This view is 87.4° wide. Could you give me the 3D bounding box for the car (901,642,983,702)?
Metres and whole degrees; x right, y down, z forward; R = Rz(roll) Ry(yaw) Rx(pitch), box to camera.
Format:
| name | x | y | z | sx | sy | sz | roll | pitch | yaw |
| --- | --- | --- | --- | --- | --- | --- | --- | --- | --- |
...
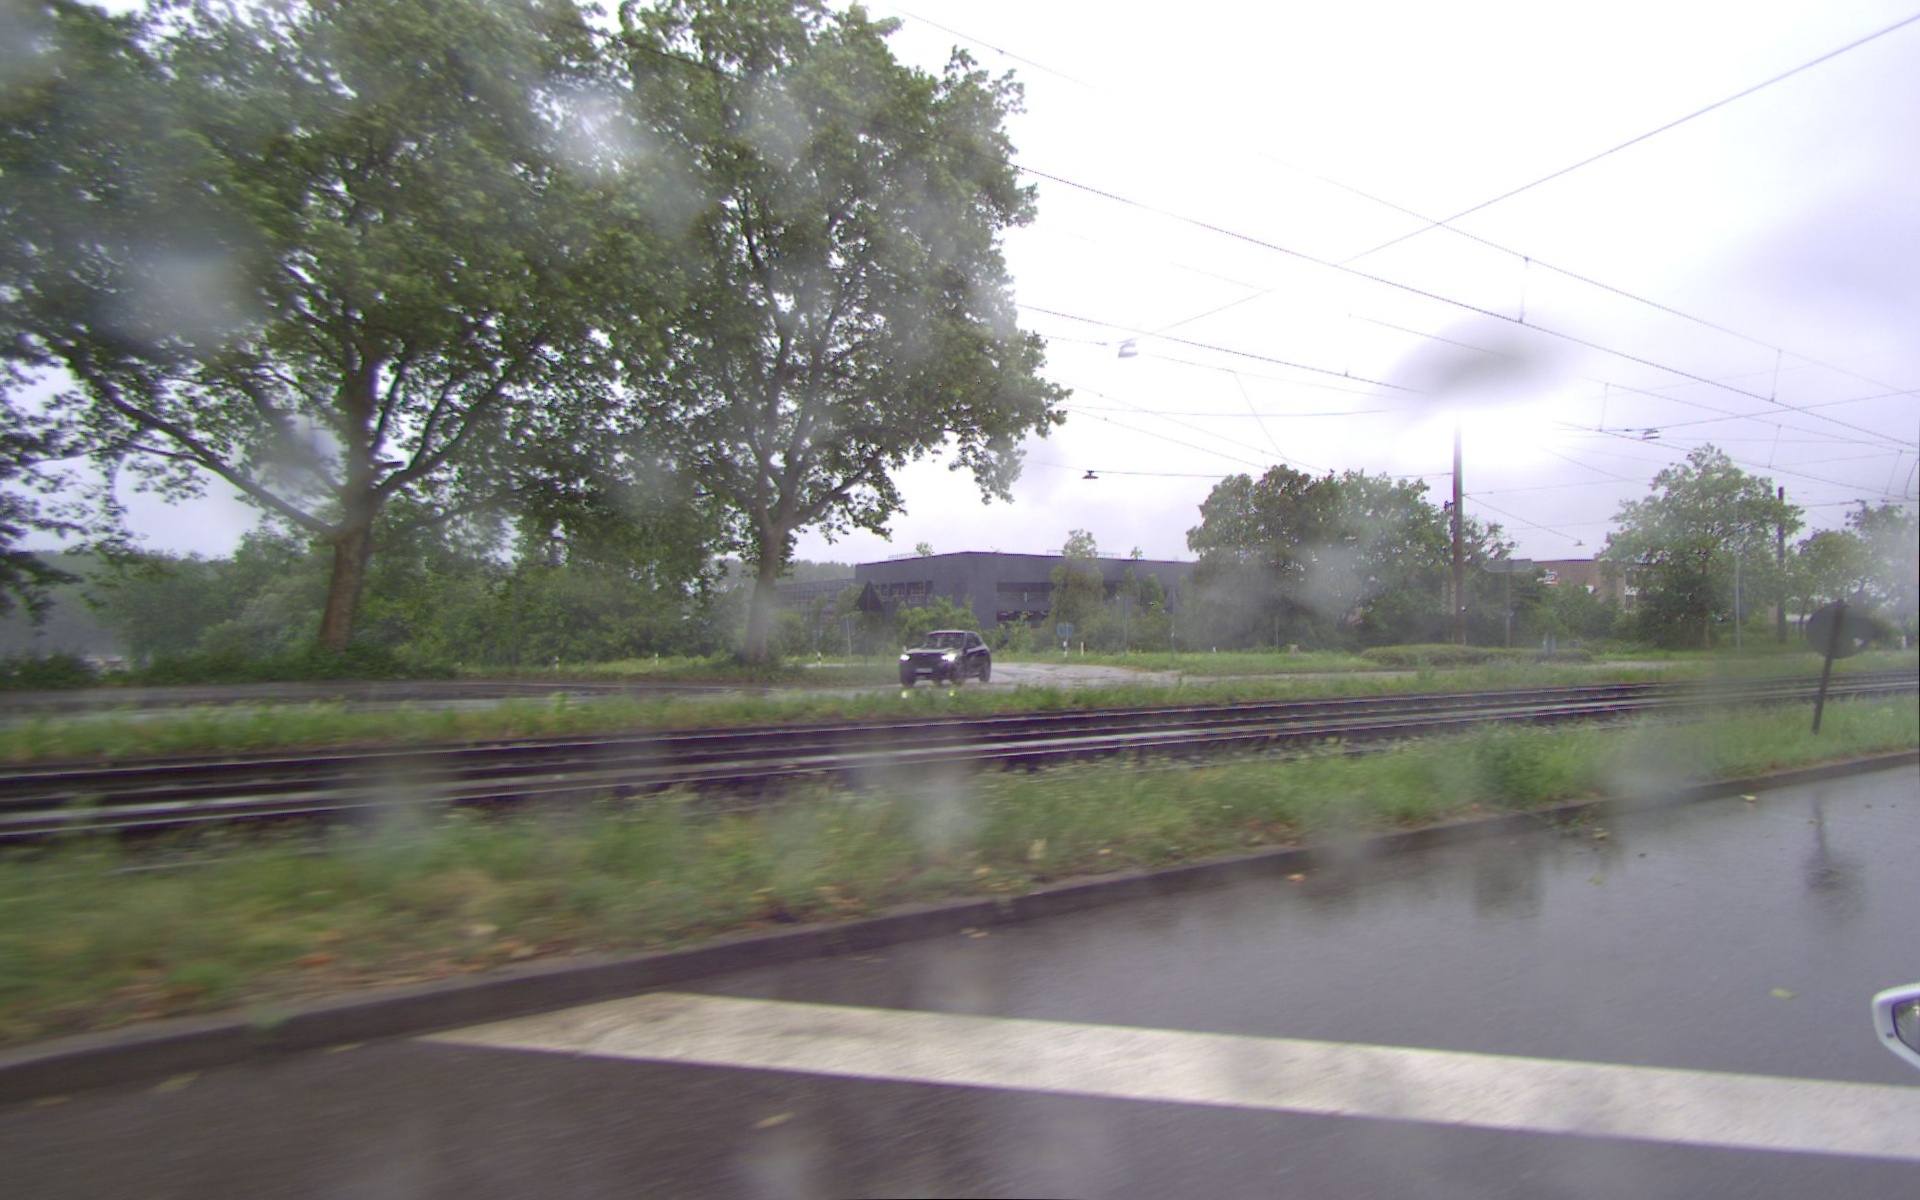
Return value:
| name | x | y | z | sx | sy | sz | roll | pitch | yaw |
| --- | --- | --- | --- | --- | --- | --- | --- | --- | --- |
| car | -0.462 | 2.086 | 30.211 | 2.175 | 1.548 | 4.280 | 1 | -1 | 3 |
